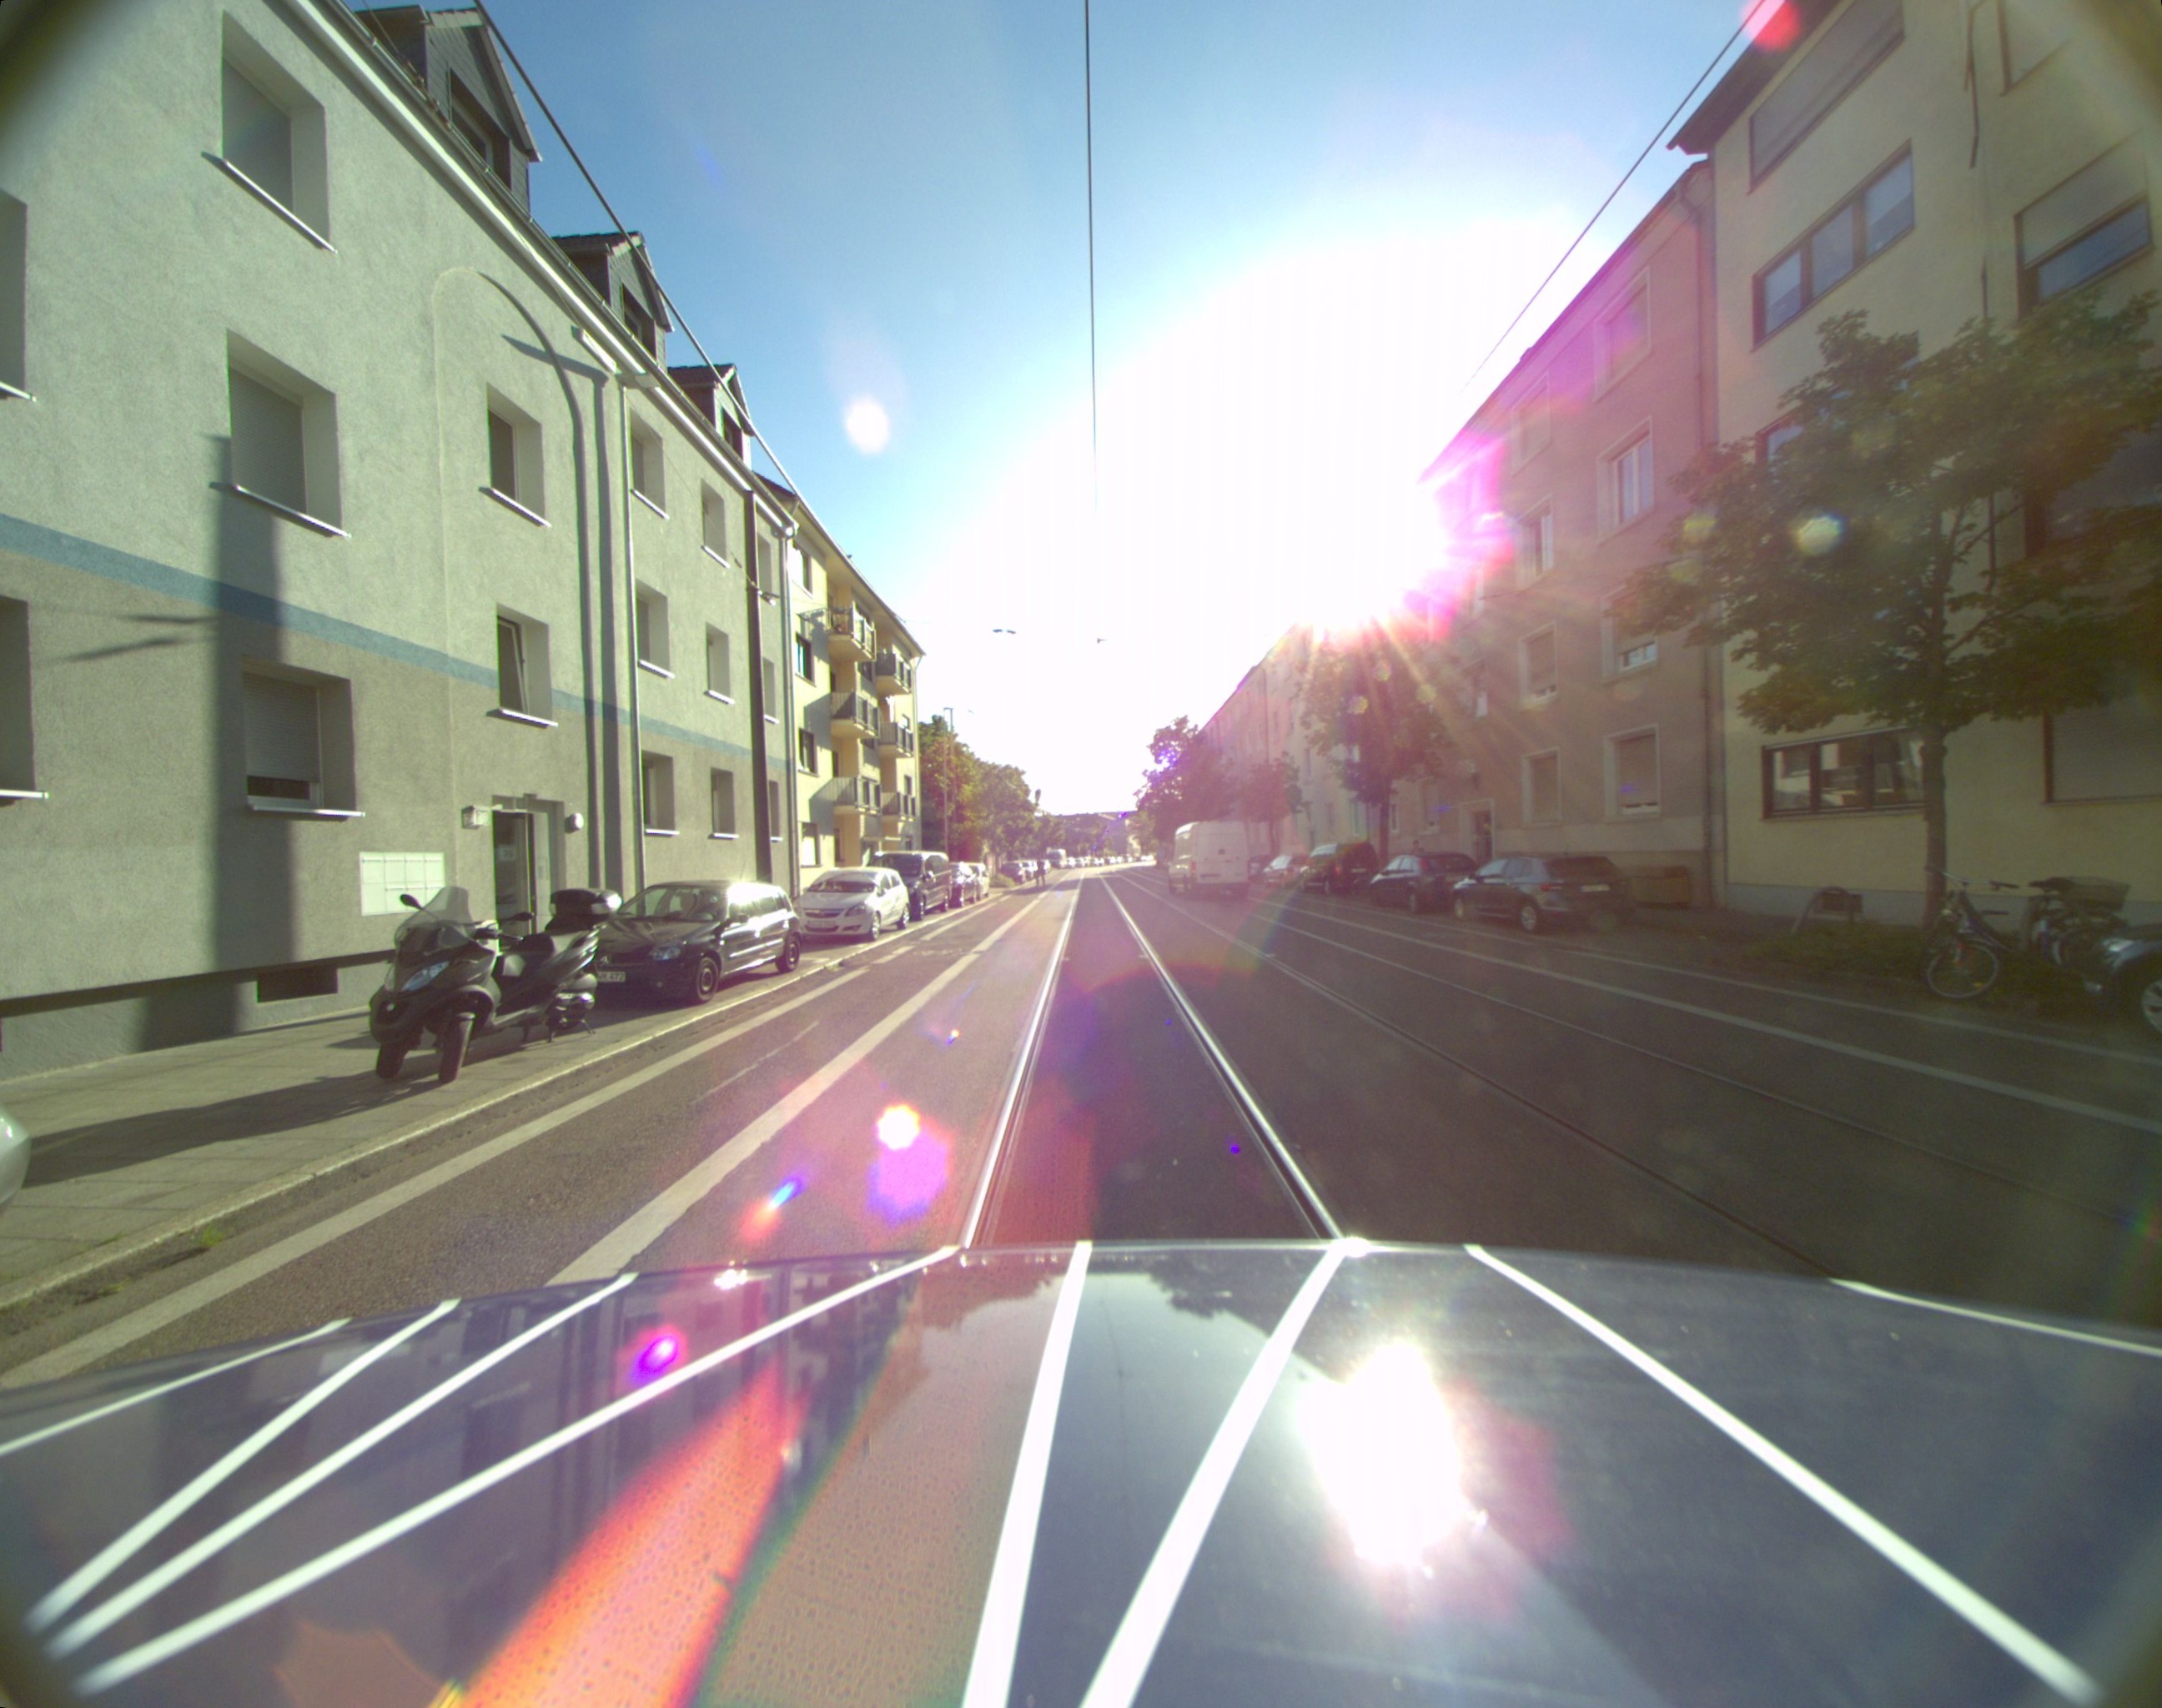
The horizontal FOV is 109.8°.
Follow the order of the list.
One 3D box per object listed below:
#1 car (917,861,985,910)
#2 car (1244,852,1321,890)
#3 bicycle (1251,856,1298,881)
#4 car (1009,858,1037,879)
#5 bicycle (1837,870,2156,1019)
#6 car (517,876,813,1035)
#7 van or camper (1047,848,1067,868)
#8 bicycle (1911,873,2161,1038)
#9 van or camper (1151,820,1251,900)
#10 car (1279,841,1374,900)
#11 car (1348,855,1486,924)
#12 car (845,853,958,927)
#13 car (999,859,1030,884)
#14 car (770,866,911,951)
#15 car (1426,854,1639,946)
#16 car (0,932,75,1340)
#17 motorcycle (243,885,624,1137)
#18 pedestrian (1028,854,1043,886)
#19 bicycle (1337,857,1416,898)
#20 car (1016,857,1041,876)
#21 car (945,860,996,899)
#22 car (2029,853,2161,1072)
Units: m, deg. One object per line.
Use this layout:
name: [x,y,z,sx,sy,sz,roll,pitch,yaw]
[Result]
car: [-4.602,1.070,27.428,1.612,1.562,4.219,0,0,1]
car: [8.684,0.690,33.166,1.770,1.464,4.857,-2,0,-3]
bicycle: [9.616,0.720,37.774,2.149,1.136,0.659,-3,1,-3]
car: [-4.560,1.114,60.411,1.828,1.562,4.478,0,0,0]
bicycle: [9.058,0.873,7.582,2.298,1.326,0.699,-2,1,1]
car: [-5.081,1.127,9.972,1.612,1.562,3.904,0,0,2]
van or camper: [-3.214,0.504,101.582,2.090,2.548,5.693,-2,1,3]
bicycle: [9.040,0.879,6.850,2.298,1.326,0.699,-2,1,1]
van or camper: [4.232,0.193,28.150,2.376,2.538,6.833,-2,0,-1]
car: [8.800,0.552,27.637,1.770,1.835,4.423,-4,0,-2]
car: [8.675,0.844,20.058,1.769,1.464,4.181,-4,0,1]
car: [-5.062,0.920,22.171,1.934,1.910,5.004,0,0,2]
car: [-4.375,1.102,50.552,1.612,1.562,4.478,0,0,1]
car: [-5.037,1.065,16.475,1.805,1.562,3.904,0,0,0]
car: [8.747,0.799,15.179,1.769,1.464,4.041,-4,0,0]
car: [-5.164,1.098,0.970,1.868,1.546,4.367,0,0,2]
motorcycle: [-5.001,1.074,6.271,0.807,1.513,2.708,0,0,0]
pedestrian: [-2.621,0.914,44.074,0.801,1.800,0.946,0,1,1]
bicycle: [9.223,0.735,23.756,2.117,1.099,0.746,-5,1,-1]
car: [-4.539,1.098,66.029,1.828,1.562,4.478,0,0,0]
car: [-4.636,1.046,32.241,1.557,1.533,3.632,0,0,1]
car: [8.541,0.767,3.800,1.769,1.533,4.734,-2,0,2]
